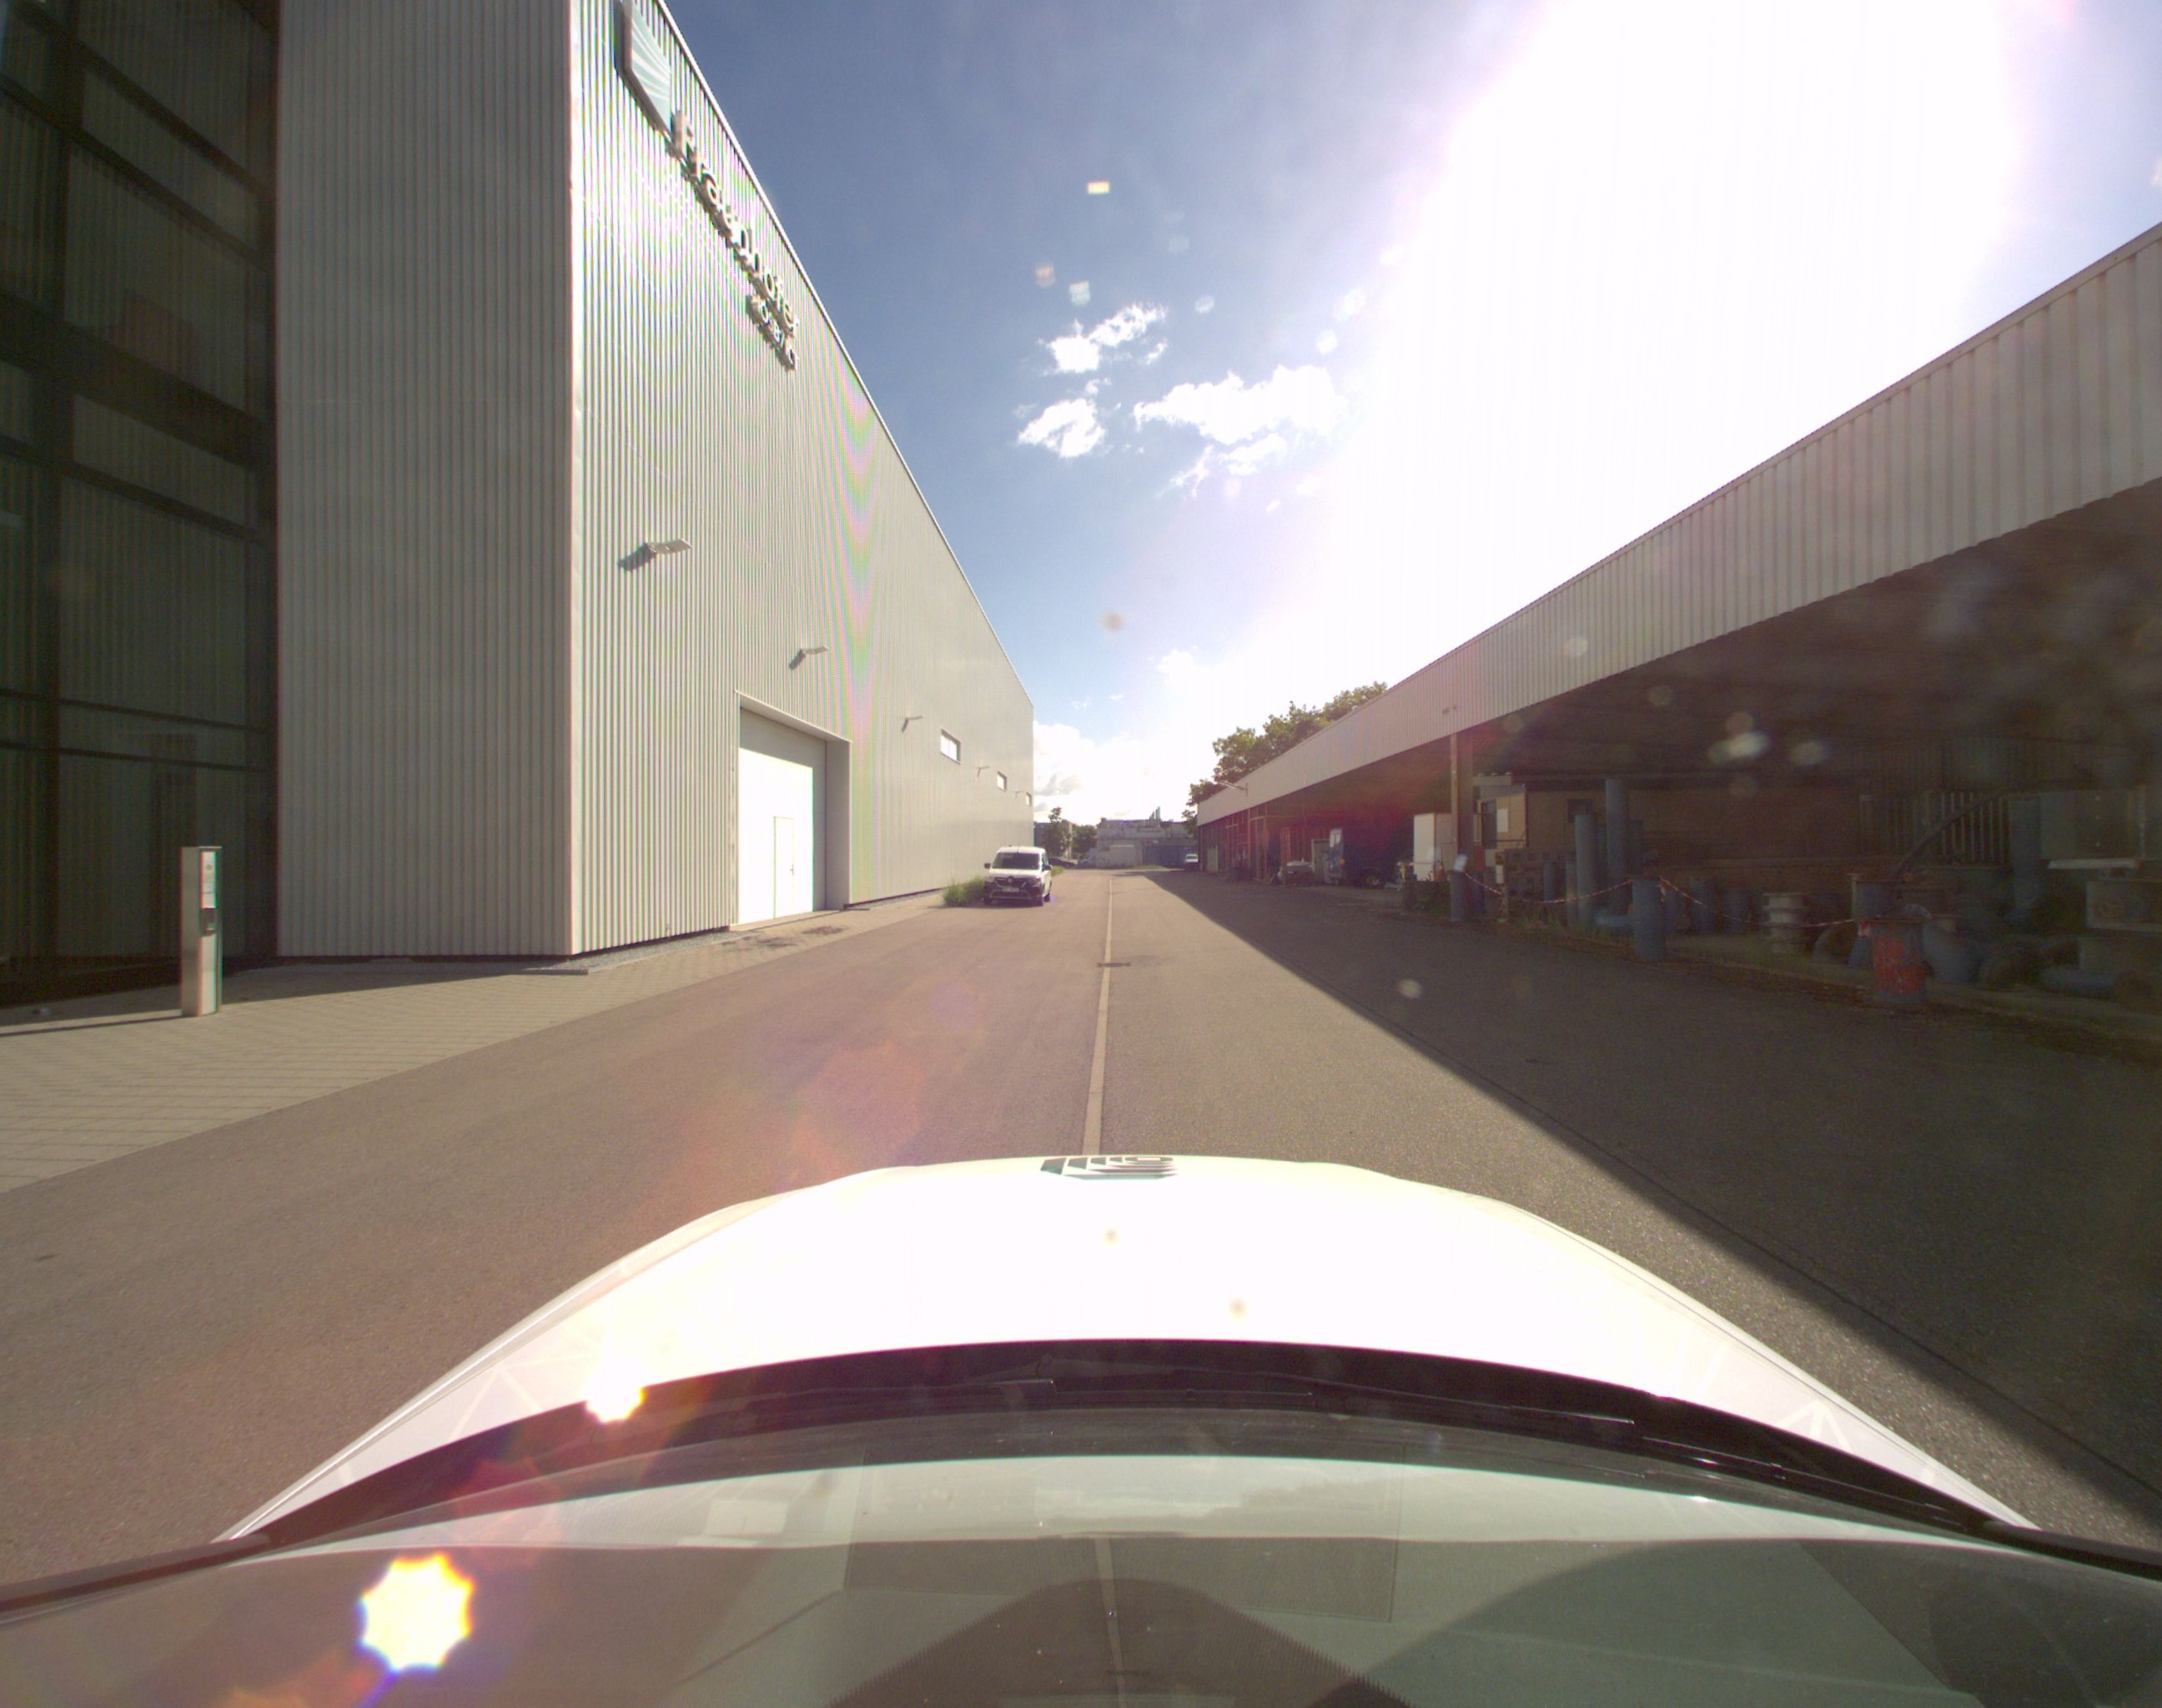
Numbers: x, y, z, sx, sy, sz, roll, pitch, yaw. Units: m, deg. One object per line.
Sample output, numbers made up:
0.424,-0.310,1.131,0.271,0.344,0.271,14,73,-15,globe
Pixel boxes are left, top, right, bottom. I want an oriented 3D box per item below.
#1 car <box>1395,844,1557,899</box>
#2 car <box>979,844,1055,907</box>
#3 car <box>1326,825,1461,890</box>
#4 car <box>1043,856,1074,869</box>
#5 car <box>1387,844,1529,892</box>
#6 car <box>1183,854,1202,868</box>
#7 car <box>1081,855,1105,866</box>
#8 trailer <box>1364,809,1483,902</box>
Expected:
11.623,0.529,24.171,4.021,1.525,1.685,1,-2,3,car
-1.914,0.622,25.747,1.811,1.787,4.408,1,0,3,car
11.694,0.163,30.699,4.414,2.310,1.916,1,-2,3,car
-2.951,1.106,108.065,3.973,1.598,1.741,1,-2,1,car
12.679,0.476,27.569,4.021,1.525,1.685,1,-2,3,car
12.989,0.827,95.189,1.953,1.564,4.063,1,0,4,car
1.961,1.074,135.832,3.973,1.598,1.848,1,-2,1,car
9.178,0.058,21.976,2.513,2.399,1.728,-1,-1,3,trailer
